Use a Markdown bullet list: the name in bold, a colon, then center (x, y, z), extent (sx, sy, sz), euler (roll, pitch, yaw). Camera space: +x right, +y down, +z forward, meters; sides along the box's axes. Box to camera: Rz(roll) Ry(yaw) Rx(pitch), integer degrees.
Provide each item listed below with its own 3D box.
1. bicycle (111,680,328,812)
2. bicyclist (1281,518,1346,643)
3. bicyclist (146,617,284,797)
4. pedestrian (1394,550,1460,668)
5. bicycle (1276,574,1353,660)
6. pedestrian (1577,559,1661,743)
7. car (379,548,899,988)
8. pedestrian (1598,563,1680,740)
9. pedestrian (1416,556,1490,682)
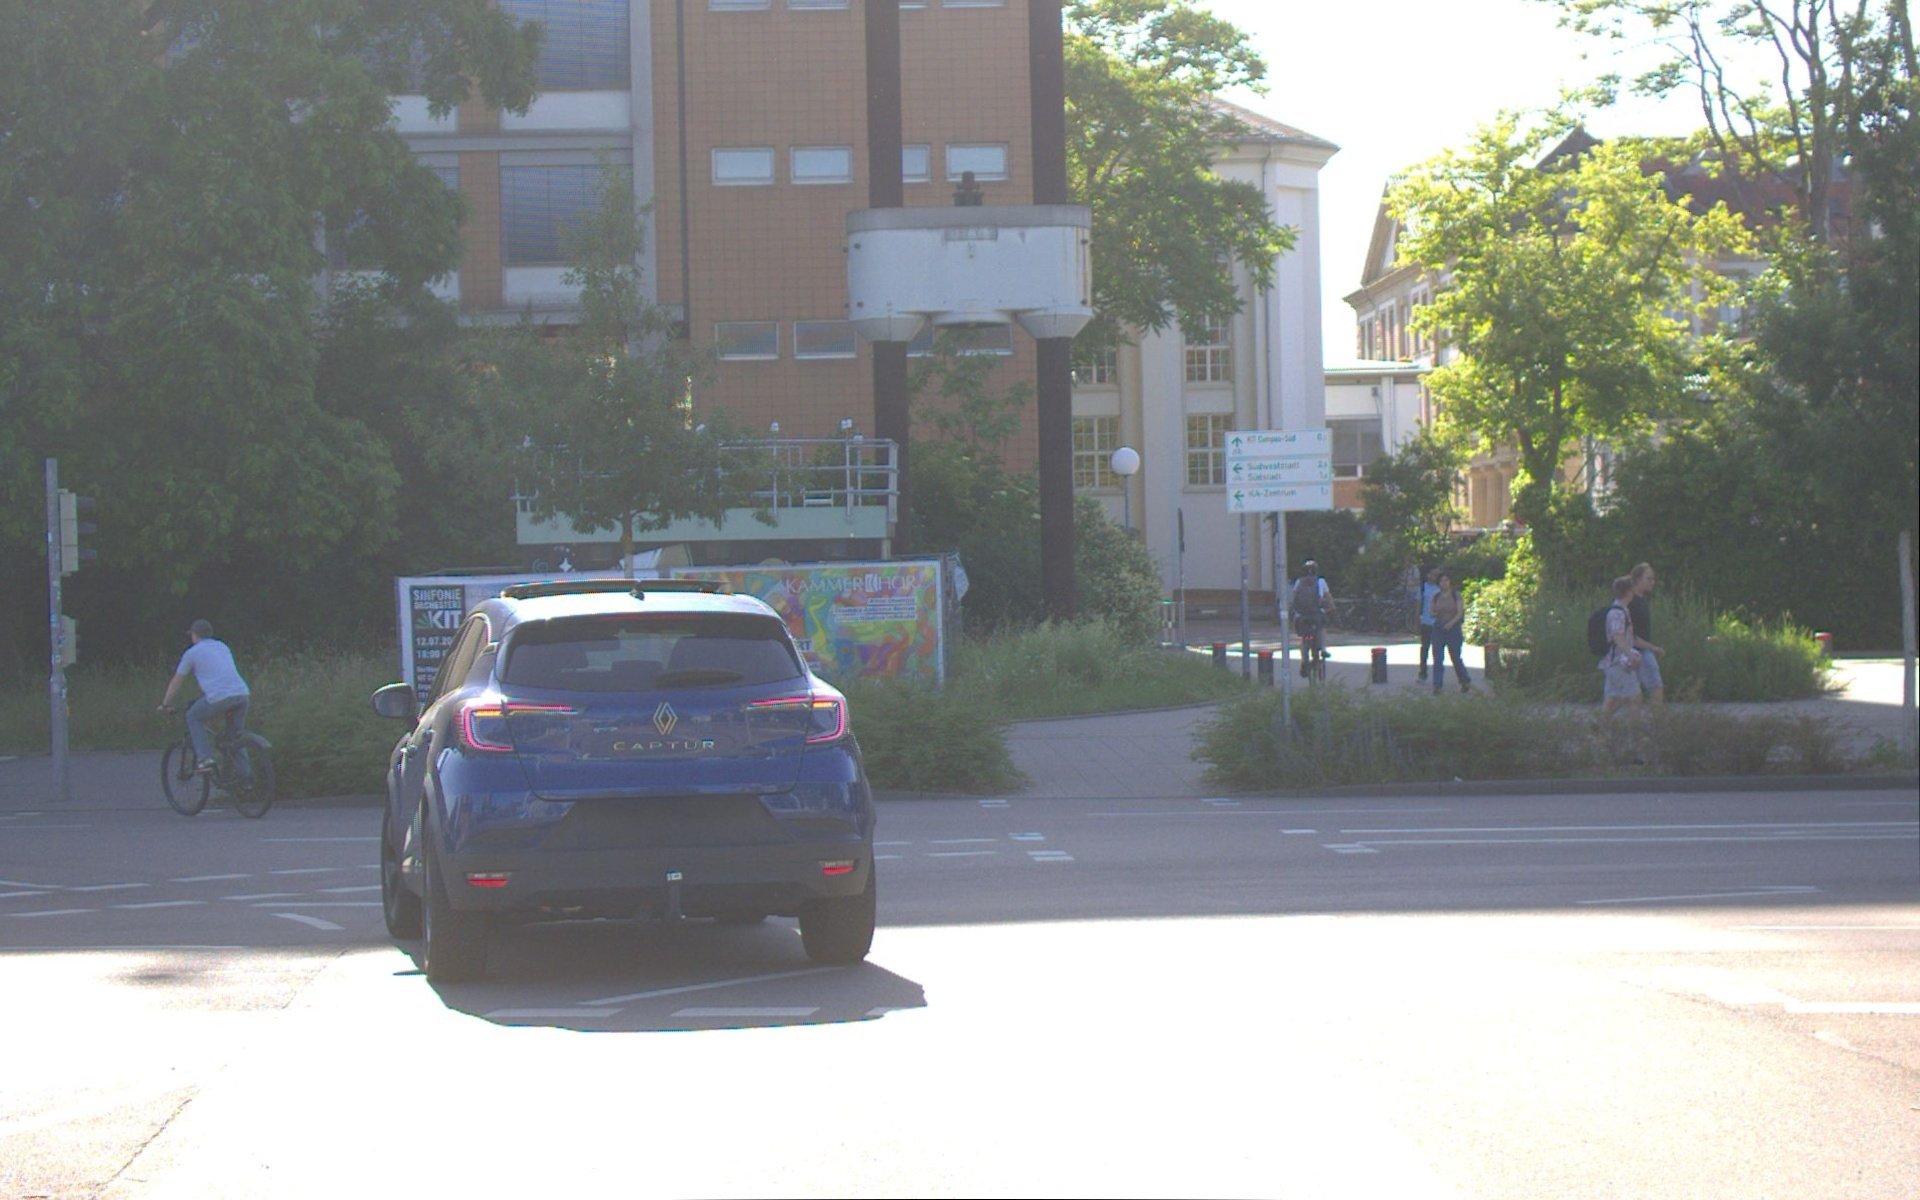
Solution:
- **bicycle**: center (-6.820, 1.333, 31.648), extent (1.866, 1.161, 0.717), euler (-1, 0, 23)
- **bicyclist**: center (4.968, -0.280, 48.235), extent (0.720, 1.729, 0.977), euler (-1, 0, 16)
- **bicyclist**: center (-6.860, 0.978, 31.656), extent (0.976, 1.611, 0.721), euler (-1, 0, 23)
- **pedestrian**: center (6.547, 0.125, 48.184), extent (0.677, 1.637, 0.735), euler (1, 0, 29)
- **bicycle**: center (4.990, 0.230, 48.284), extent (0.746, 1.161, 1.869), euler (-1, 0, 16)
- **pedestrian**: center (6.587, 0.503, 34.346), extent (0.734, 1.810, 0.731), euler (1, 0, 16)
- **car**: center (-1.535, 0.699, 15.033), extent (1.876, 1.612, 3.798), euler (-2, -2, -11)
- **pedestrian**: center (6.934, 0.516, 35.112), extent (0.734, 1.776, 0.731), euler (1, 0, 16)
- **pedestrian**: center (6.503, 0.243, 45.338), extent (0.677, 1.637, 0.734), euler (1, 0, 36)
